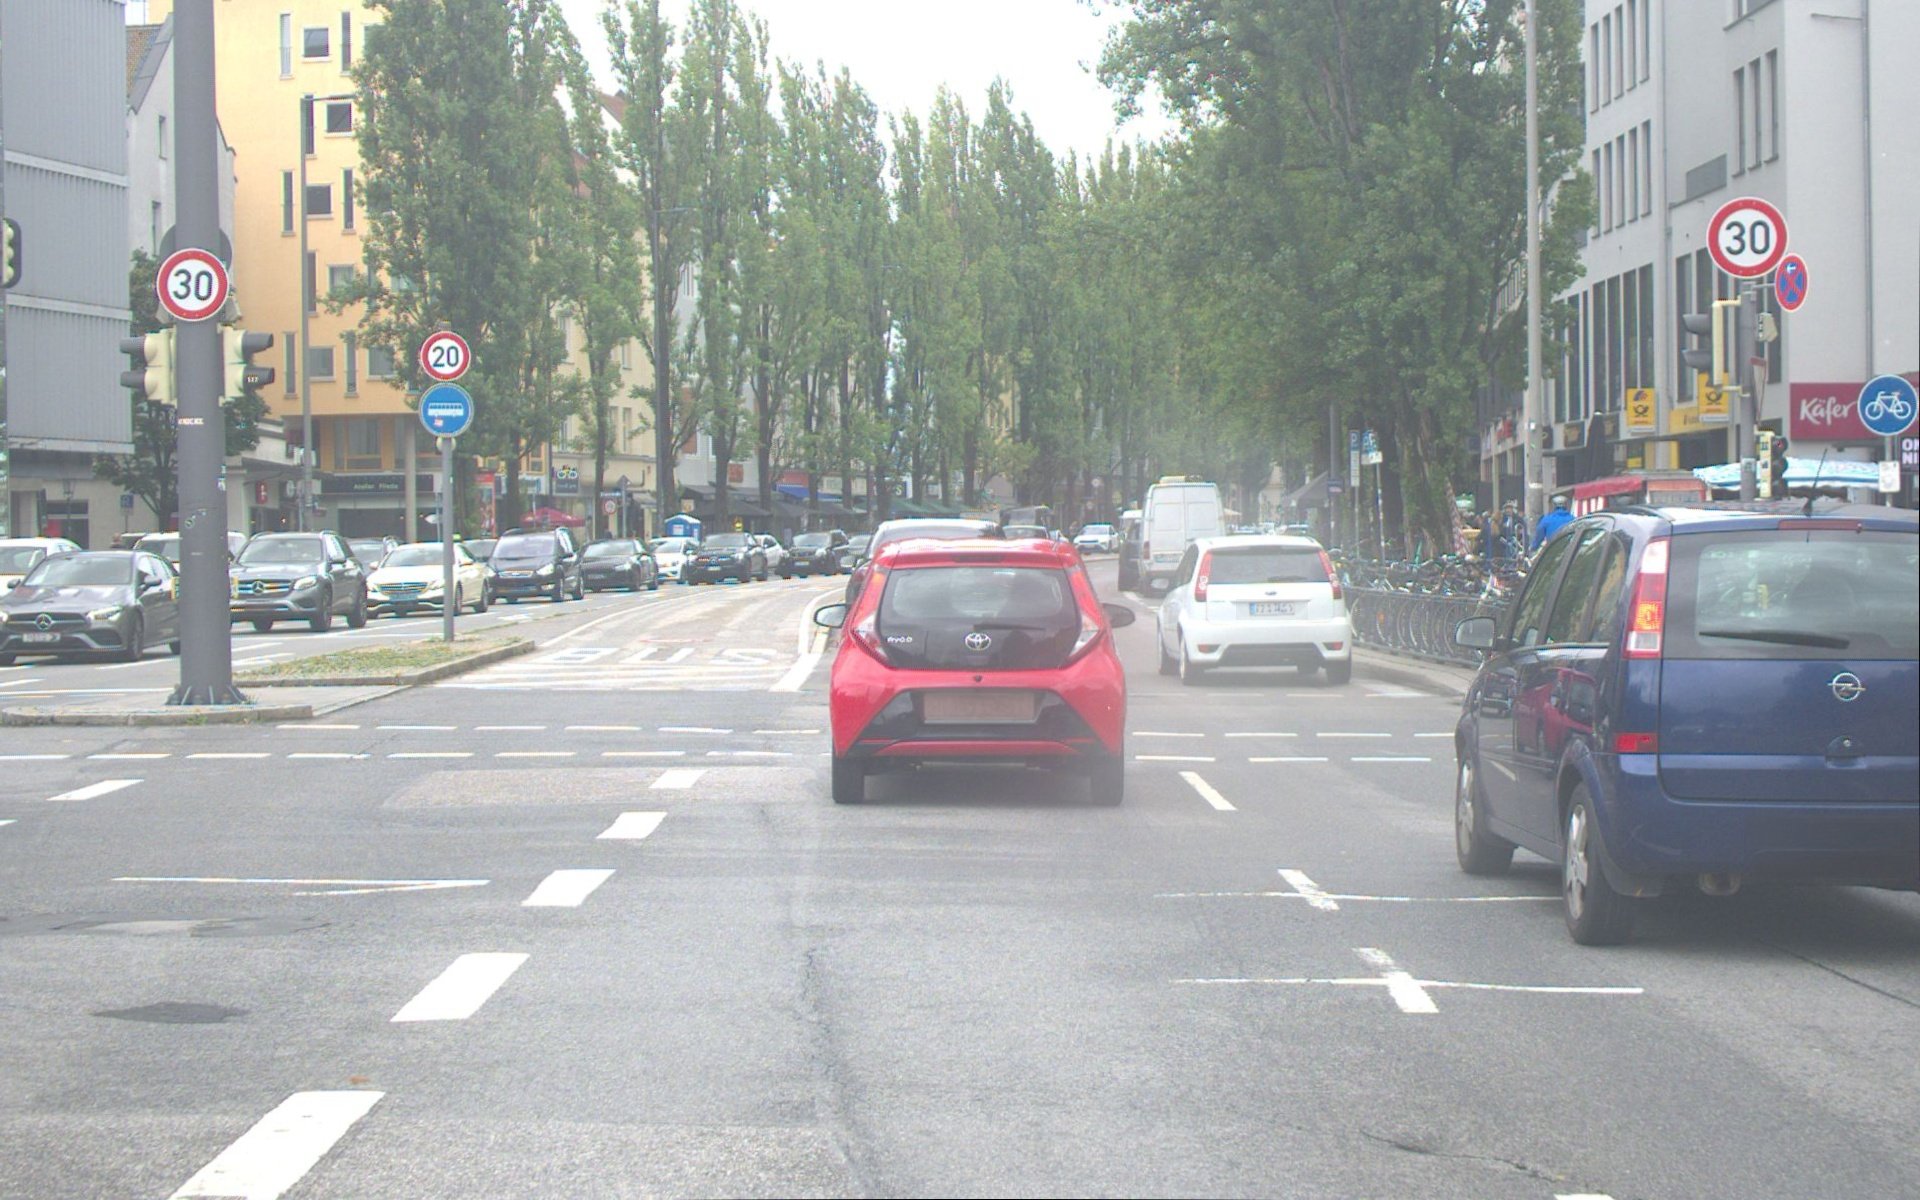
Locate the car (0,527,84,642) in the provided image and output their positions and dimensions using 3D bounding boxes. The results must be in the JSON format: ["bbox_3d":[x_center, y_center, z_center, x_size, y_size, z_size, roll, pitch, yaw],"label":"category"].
[{"bbox_3d":[-13.870,-0.242,49.273,1.698,1.590,4.000,-1,1,-2],"label":"car"}]

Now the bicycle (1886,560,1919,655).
[{"bbox_3d":[10.396,0.061,35.089,1.754,0.961,0.453,-1,1,1],"label":"bicycle"}]

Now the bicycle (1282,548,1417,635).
[{"bbox_3d":[5.077,-0.114,44.893,1.803,1.107,0.490,1,2,42],"label":"bicycle"}]

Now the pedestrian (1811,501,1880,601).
[{"bbox_3d":[13.666,-0.753,53.069,0.810,1.517,0.799,0,1,33],"label":"pedestrian"}]

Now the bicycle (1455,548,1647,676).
[{"bbox_3d":[5.675,0.105,33.086,1.803,1.194,0.558,1,2,43],"label":"bicycle"}]

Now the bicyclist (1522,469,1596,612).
[{"bbox_3d":[7.970,-0.797,45.749,0.762,1.863,1.133,-1,1,0],"label":"bicyclist"}]

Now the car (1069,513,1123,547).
[{"bbox_3d":[6.923,-3.584,175.153,1.994,1.686,4.412,-1,1,12],"label":"car"}]

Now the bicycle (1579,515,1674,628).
[{"bbox_3d":[7.755,-0.348,40.078,0.614,1.260,2.520,-1,1,0],"label":"bicycle"}]

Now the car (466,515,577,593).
[{"bbox_3d":[-10.122,-1.073,79.600,1.936,1.733,4.588,-1,1,0],"label":"car"}]

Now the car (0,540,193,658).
[{"bbox_3d":[-11.243,-0.048,44.197,1.993,1.407,4.168,0,1,-3],"label":"car"}]

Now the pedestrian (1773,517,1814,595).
[{"bbox_3d":[15.035,-0.800,62.021,0.598,1.397,0.580,-1,1,0],"label":"pedestrian"}]

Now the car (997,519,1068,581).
[{"bbox_3d":[2.241,-1.542,105.113,1.994,1.831,4.000,-1,1,3],"label":"car"}]

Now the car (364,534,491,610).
[{"bbox_3d":[-10.457,-0.582,67.779,1.765,1.417,4.639,-1,1,0],"label":"car"}]

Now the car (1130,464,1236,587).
[{"bbox_3d":[5.062,-1.692,78.604,2.107,2.709,4.804,-1,1,0],"label":"car"}]

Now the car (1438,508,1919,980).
[{"bbox_3d":[2.976,0.451,13.393,1.703,1.584,3.556,-1,1,0],"label":"car"}]

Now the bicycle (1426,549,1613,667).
[{"bbox_3d":[5.602,0.069,34.479,1.803,1.154,0.547,0,2,38],"label":"bicycle"}]

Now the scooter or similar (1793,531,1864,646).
[{"bbox_3d":[9.152,-0.132,36.209,0.364,1.172,1.345,0,2,30],"label":"scooter or similar"}]

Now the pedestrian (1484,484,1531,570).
[{"bbox_3d":[11.041,-1.472,69.333,0.790,1.722,0.764,-1,1,0],"label":"pedestrian"}]

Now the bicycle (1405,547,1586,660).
[{"bbox_3d":[5.602,0.037,35.971,1.801,1.154,0.486,0,1,26],"label":"bicycle"}]

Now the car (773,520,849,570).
[{"bbox_3d":[-5.152,-1.916,119.544,1.994,1.686,4.920,0,1,5],"label":"car"}]

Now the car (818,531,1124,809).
[{"bbox_3d":[0.066,0.341,19.727,1.605,1.456,3.130,0,1,0],"label":"car"}]

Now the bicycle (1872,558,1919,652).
[{"bbox_3d":[10.426,0.041,35.782,1.754,0.961,0.369,-1,1,1],"label":"bicycle"}]

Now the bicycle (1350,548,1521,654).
[{"bbox_3d":[5.339,0.004,38.663,1.803,1.154,0.651,0,2,35],"label":"bicycle"}]

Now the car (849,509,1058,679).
[{"bbox_3d":[-0.095,-0.099,35.147,1.993,1.612,4.000,-1,1,-1],"label":"car"}]

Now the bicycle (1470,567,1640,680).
[{"bbox_3d":[5.602,0.208,32.427,0.498,1.025,1.601,-2,2,-43],"label":"bicycle"}]

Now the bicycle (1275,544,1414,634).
[{"bbox_3d":[5.089,-0.159,45.556,1.836,1.164,0.585,1,2,42],"label":"bicycle"}]

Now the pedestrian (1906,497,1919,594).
[{"bbox_3d":[14.789,-0.837,52.549,0.507,1.479,0.464,0,1,35],"label":"pedestrian"}]

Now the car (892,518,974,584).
[{"bbox_3d":[-0.627,-1.123,77.419,1.772,1.434,3.939,-1,1,-1],"label":"car"}]

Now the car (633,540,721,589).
[{"bbox_3d":[-9.329,-1.190,113.716,1.994,1.529,4.464,-1,1,7],"label":"car"}]

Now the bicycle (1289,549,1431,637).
[{"bbox_3d":[5.139,-0.098,44.228,1.803,1.107,0.585,1,2,42],"label":"bicycle"}]

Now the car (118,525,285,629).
[{"bbox_3d":[-16.216,-0.531,73.768,1.994,2.006,5.523,-1,2,4],"label":"car"}]

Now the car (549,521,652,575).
[{"bbox_3d":[-9.538,-1.402,91.482,1.845,1.378,4.600,0,1,6],"label":"car"}]

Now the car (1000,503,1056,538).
[{"bbox_3d":[3.462,-4.029,173.303,1.994,1.686,4.412,-1,1,12],"label":"car"}]

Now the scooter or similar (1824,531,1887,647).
[{"bbox_3d":[9.345,-0.120,35.847,0.301,1.172,1.275,0,2,30],"label":"scooter or similar"}]

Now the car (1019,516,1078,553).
[{"bbox_3d":[4.203,-3.106,162.528,1.994,1.686,4.412,-1,1,12],"label":"car"}]

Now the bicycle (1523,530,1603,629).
[{"bbox_3d":[8.013,-0.291,45.757,0.614,1.260,2.520,-1,1,0],"label":"bicycle"}]

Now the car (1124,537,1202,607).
[{"bbox_3d":[4.992,-0.705,84.845,1.703,1.657,3.556,0,1,0],"label":"car"}]

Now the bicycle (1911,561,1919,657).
[{"bbox_3d":[10.494,0.076,34.530,1.754,0.961,0.453,-1,1,-2],"label":"bicycle"}]

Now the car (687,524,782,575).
[{"bbox_3d":[-6.909,-1.560,105.873,1.994,1.529,4.586,0,1,9],"label":"car"}]

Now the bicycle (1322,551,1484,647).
[{"bbox_3d":[5.242,-0.020,40.725,1.803,1.107,0.651,0,2,37],"label":"bicycle"}]

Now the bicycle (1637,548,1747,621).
[{"bbox_3d":[9.939,-0.219,46.682,1.401,0.960,0.369,-1,1,-5],"label":"bicycle"}]

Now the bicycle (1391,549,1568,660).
[{"bbox_3d":[5.527,0.043,36.632,1.802,1.154,0.486,0,2,29],"label":"bicycle"}]

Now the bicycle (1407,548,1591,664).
[{"bbox_3d":[5.505,0.051,35.161,1.803,1.154,0.547,0,2,38],"label":"bicycle"}]

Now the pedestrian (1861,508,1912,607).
[{"bbox_3d":[14.035,-0.646,52.075,0.580,1.500,0.615,0,1,31],"label":"pedestrian"}]

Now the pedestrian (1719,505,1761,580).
[{"bbox_3d":[16.318,-1.198,71.940,0.713,1.553,0.676,-1,1,0],"label":"pedestrian"}]

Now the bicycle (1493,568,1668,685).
[{"bbox_3d":[5.687,0.231,31.572,0.498,1.025,1.601,-2,2,-43],"label":"bicycle"}]

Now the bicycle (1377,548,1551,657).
[{"bbox_3d":[5.462,0.025,37.287,1.802,1.154,0.486,0,2,30],"label":"bicycle"}]

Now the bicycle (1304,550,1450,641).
[{"bbox_3d":[5.184,-0.065,42.801,1.803,1.107,0.561,1,2,41],"label":"bicycle"}]

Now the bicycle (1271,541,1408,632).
[{"bbox_3d":[5.109,-0.193,46.337,1.836,1.193,0.585,1,2,42],"label":"bicycle"}]

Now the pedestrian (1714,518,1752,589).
[{"bbox_3d":[15.223,-0.920,67.723,0.598,1.397,0.580,-1,1,0],"label":"pedestrian"}]

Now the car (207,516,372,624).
[{"bbox_3d":[-10.960,-0.533,56.509,1.743,1.664,4.732,-1,2,0],"label":"car"}]

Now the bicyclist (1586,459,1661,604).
[{"bbox_3d":[7.757,-0.805,40.217,0.614,1.652,1.251,-1,1,0],"label":"bicyclist"}]

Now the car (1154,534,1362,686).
[{"bbox_3d":[2.921,0.066,34.275,1.699,1.421,3.497,-1,1,-1],"label":"car"}]

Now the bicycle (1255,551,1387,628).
[{"bbox_3d":[5.008,-0.154,47.746,1.836,1.048,0.585,1,2,42],"label":"bicycle"}]

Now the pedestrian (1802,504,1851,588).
[{"bbox_3d":[16.602,-1.036,65.906,0.732,1.596,0.742,-1,1,0],"label":"pedestrian"}]
